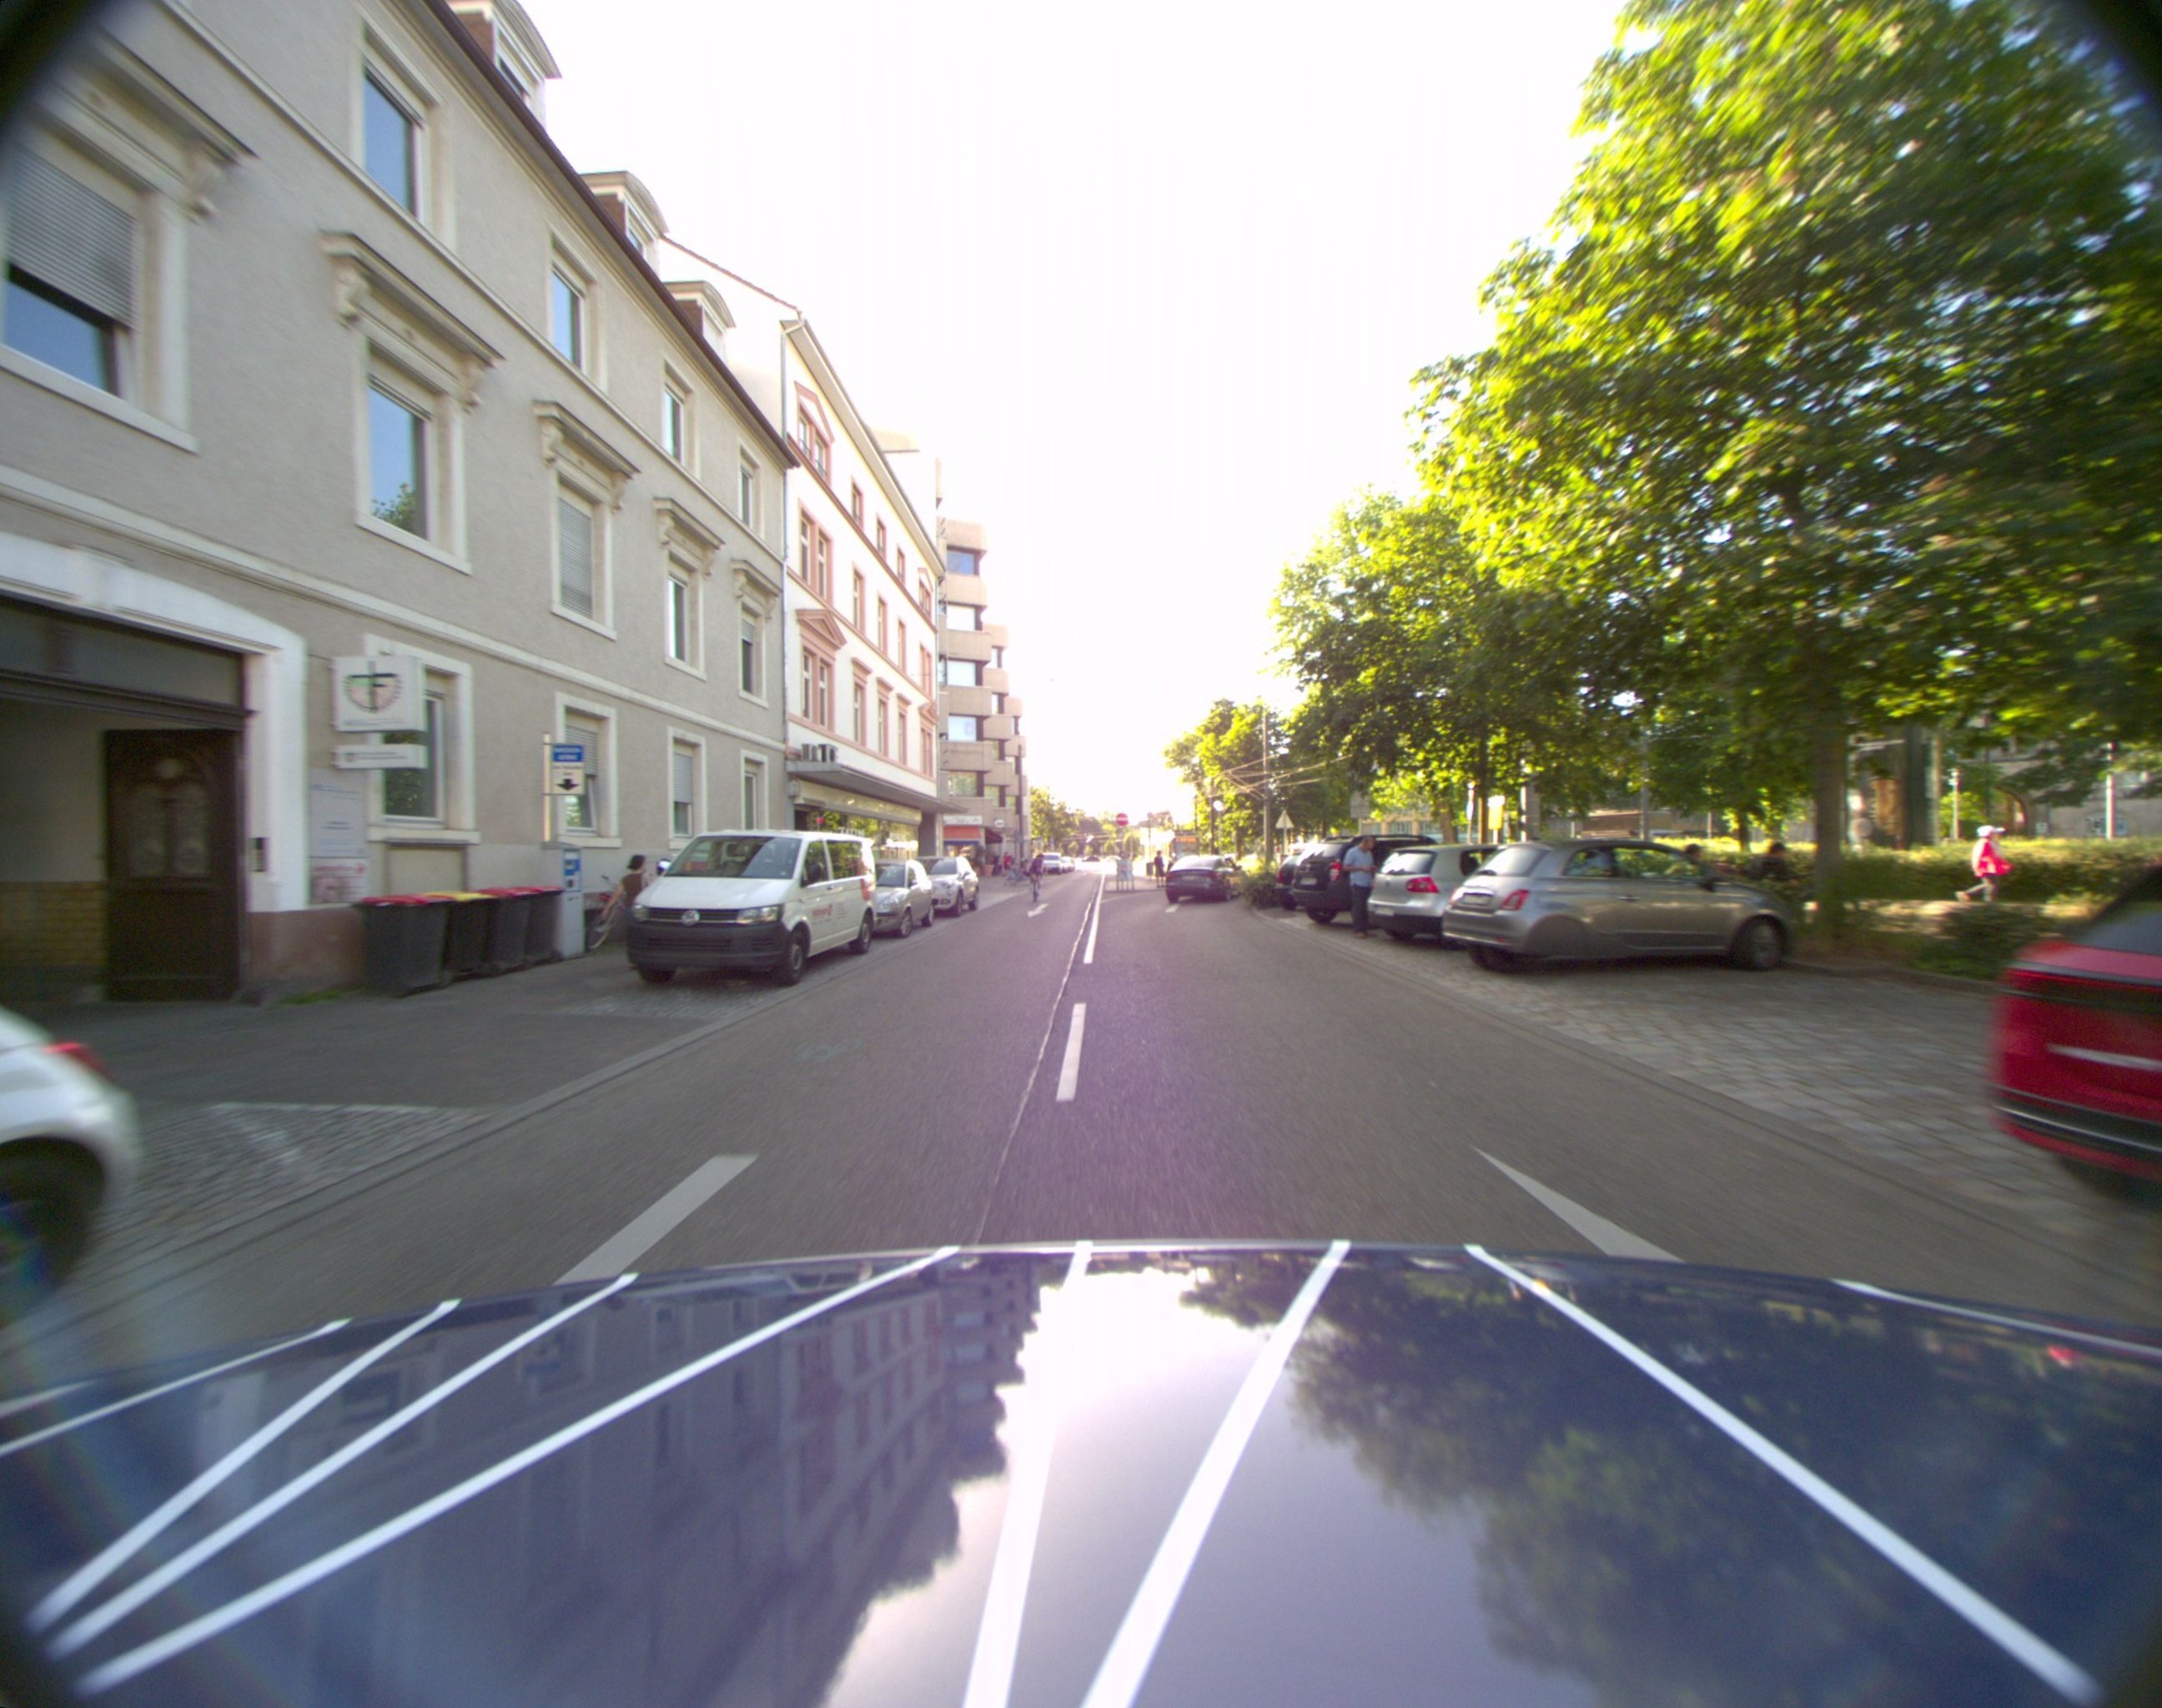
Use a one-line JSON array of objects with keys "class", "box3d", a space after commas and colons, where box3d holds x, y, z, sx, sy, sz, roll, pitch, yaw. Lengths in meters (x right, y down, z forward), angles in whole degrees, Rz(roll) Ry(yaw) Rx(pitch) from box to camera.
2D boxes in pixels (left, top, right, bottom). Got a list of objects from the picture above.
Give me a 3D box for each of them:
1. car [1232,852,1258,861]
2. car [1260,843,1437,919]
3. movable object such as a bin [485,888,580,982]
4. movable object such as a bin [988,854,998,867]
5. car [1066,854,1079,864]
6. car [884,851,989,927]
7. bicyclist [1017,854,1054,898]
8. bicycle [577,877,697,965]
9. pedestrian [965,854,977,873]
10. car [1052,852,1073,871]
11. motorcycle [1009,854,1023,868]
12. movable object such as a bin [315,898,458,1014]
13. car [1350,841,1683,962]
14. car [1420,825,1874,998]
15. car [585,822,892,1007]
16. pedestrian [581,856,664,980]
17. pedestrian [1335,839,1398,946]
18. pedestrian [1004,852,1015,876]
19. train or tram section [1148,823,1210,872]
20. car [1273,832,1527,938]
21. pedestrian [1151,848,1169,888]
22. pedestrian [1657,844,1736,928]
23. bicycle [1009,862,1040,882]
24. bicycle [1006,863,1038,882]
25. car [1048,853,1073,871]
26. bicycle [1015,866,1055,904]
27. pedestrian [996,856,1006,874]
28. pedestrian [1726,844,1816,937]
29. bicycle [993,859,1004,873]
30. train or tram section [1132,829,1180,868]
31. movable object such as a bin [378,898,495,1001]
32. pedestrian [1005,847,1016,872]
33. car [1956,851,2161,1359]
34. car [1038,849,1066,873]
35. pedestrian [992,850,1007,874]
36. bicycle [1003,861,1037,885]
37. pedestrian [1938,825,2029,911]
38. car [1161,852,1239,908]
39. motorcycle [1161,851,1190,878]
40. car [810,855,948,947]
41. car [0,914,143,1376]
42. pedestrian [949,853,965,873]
[{"class": "car", "box3d": [31.047, 0.485, 144.101, 2.109, 1.724, 5.076, -2, 0, -24]}, {"class": "car", "box3d": [6.428, 0.576, 18.156, 4.006, 1.461, 1.870, -3, 2, -33]}, {"class": "movable object such as a bin", "box3d": [-7.259, 1.063, 10.074, 0.770, 1.154, 0.578, -2, 2, 5]}, {"class": "movable object such as a bin", "box3d": [-9.426, 0.694, 81.388, 0.794, 1.375, 0.852, -2, 2, 10]}, {"class": "car", "box3d": [-1.211, 0.731, 107.159, 1.770, 1.430, 4.583, 0, 0, 0]}, {"class": "car", "box3d": [-3.879, 0.851, 21.274, 1.749, 1.729, 4.960, -2, 1, 2]}, {"class": "bicyclist", "box3d": [-1.576, 0.760, 26.674, 1.040, 1.475, 0.989, -2, 2, 9]}, {"class": "bicycle", "box3d": [-7.021, 1.024, 12.118, 0.483, 1.179, 1.722, 2, 3, 20]}, {"class": "pedestrian", "box3d": [-7.766, 0.671, 53.749, 0.844, 1.285, 0.830, 0, 1, -10]}, {"class": "car", "box3d": [-1.902, 0.730, 77.570, 1.856, 1.679, 3.866, -2, 1, 2]}, {"class": "motorcycle", "box3d": [-5.928, 0.637, 69.593, 0.765, 1.148, 2.049, 1, 2, 12]}, {"class": "movable object such as a bin", "box3d": [-7.370, 1.062, 8.095, 0.840, 1.131, 0.699, -1, 2, 5]}, {"class": "car", "box3d": [6.323, 0.612, 11.260, 3.999, 1.440, 1.802, -3, 1, -8]}, {"class": "car", "box3d": [6.284, 0.560, 8.715, 3.998, 1.589, 1.749, -3, 1, -5]}, {"class": "car", "box3d": [-4.400, 0.668, 10.908, 1.998, 1.993, 5.117, -1, 0, 1]}, {"class": "pedestrian", "box3d": [-6.240, 0.855, 10.367, 0.751, 1.598, 0.458, 5, 2, 2]}, {"class": "pedestrian", "box3d": [4.572, 0.599, 12.201, 0.701, 1.640, 0.646, -3, 2, -5]}, {"class": "pedestrian", "box3d": [-5.241, 0.709, 55.524, 0.585, 1.705, 0.698, -2, 2, 5]}, {"class": "train or tram section", "box3d": [8.088, -0.521, 64.805, 2.957, 3.663, 13.181, -2, 0, -2]}, {"class": "car", "box3d": [5.989, 0.520, 14.446, 4.001, 1.658, 1.998, -3, 0, -14]}, {"class": "pedestrian", "box3d": [3.347, 0.599, 32.256, 0.637, 1.663, 0.692, -2, 2, 3]}, {"class": "pedestrian", "box3d": [9.694, 0.484, 11.986, 0.646, 1.267, 0.700, -3, 2, -13]}, {"class": "bicycle", "box3d": [-3.149, 0.982, 42.512, 1.681, 1.056, 0.344, -2, 2, 18]}, {"class": "bicycle", "box3d": [-3.278, 1.012, 42.151, 1.705, 0.998, 0.428, -2, 2, 18]}, {"class": "car", "box3d": [-1.890, 0.746, 70.956, 1.778, 1.445, 4.731, -2, 1, 4]}, {"class": "bicycle", "box3d": [-1.580, 1.052, 26.529, 0.887, 1.129, 2.230, -2, 1, 9]}, {"class": "pedestrian", "box3d": [-5.897, 0.809, 56.206, 0.631, 1.229, 0.624, 1, 2, 5]}, {"class": "pedestrian", "box3d": [9.890, 0.504, 10.906, 0.646, 1.253, 0.700, -3, 2, -13]}, {"class": "bicycle", "box3d": [-6.352, 0.901, 58.405, 0.564, 1.028, 1.644, -2, 1, 3]}, {"class": "train or tram section", "box3d": [7.447, -0.482, 77.941, 2.957, 3.591, 13.631, -2, 0, -2]}, {"class": "movable object such as a bin", "box3d": [-7.444, 1.086, 8.810, 0.796, 1.070, 0.660, 2, 2, 4]}, {"class": "pedestrian", "box3d": [-5.221, 0.425, 56.407, 0.672, 1.846, 0.610, 1, 2, 5]}, {"class": "car", "box3d": [5.700, 0.686, 2.647, 4.854, 1.479, 1.762, -3, 1, -19]}, {"class": "car", "box3d": [-2.416, 0.531, 64.132, 1.998, 1.802, 4.309, -2, 1, 2]}, {"class": "pedestrian", "box3d": [-5.889, 0.553, 54.720, 0.845, 1.700, 0.718, 0, 1, -26]}, {"class": "bicycle", "box3d": [-3.260, 1.004, 40.687, 1.623, 1.236, 0.660, -2, 2, 22]}, {"class": "pedestrian", "box3d": [16.822, 0.238, 14.170, 0.771, 1.513, 0.956, -3, 2, -29]}, {"class": "car", "box3d": [3.855, 0.748, 23.964, 1.914, 1.409, 4.814, -2, 1, 15]}, {"class": "motorcycle", "box3d": [5.033, 0.554, 40.569, 0.749, 1.366, 1.757, -3, 2, -21]}, {"class": "car", "box3d": [-4.069, 0.874, 15.937, 1.703, 1.595, 3.756, -1, 1, 3]}, {"class": "car", "box3d": [-4.508, 1.014, 1.127, 1.722, 1.506, 3.582, 1, 1, 2]}, {"class": "pedestrian", "box3d": [-8.581, 0.627, 52.585, 0.845, 1.394, 0.751, -3, 1, -28]}]
